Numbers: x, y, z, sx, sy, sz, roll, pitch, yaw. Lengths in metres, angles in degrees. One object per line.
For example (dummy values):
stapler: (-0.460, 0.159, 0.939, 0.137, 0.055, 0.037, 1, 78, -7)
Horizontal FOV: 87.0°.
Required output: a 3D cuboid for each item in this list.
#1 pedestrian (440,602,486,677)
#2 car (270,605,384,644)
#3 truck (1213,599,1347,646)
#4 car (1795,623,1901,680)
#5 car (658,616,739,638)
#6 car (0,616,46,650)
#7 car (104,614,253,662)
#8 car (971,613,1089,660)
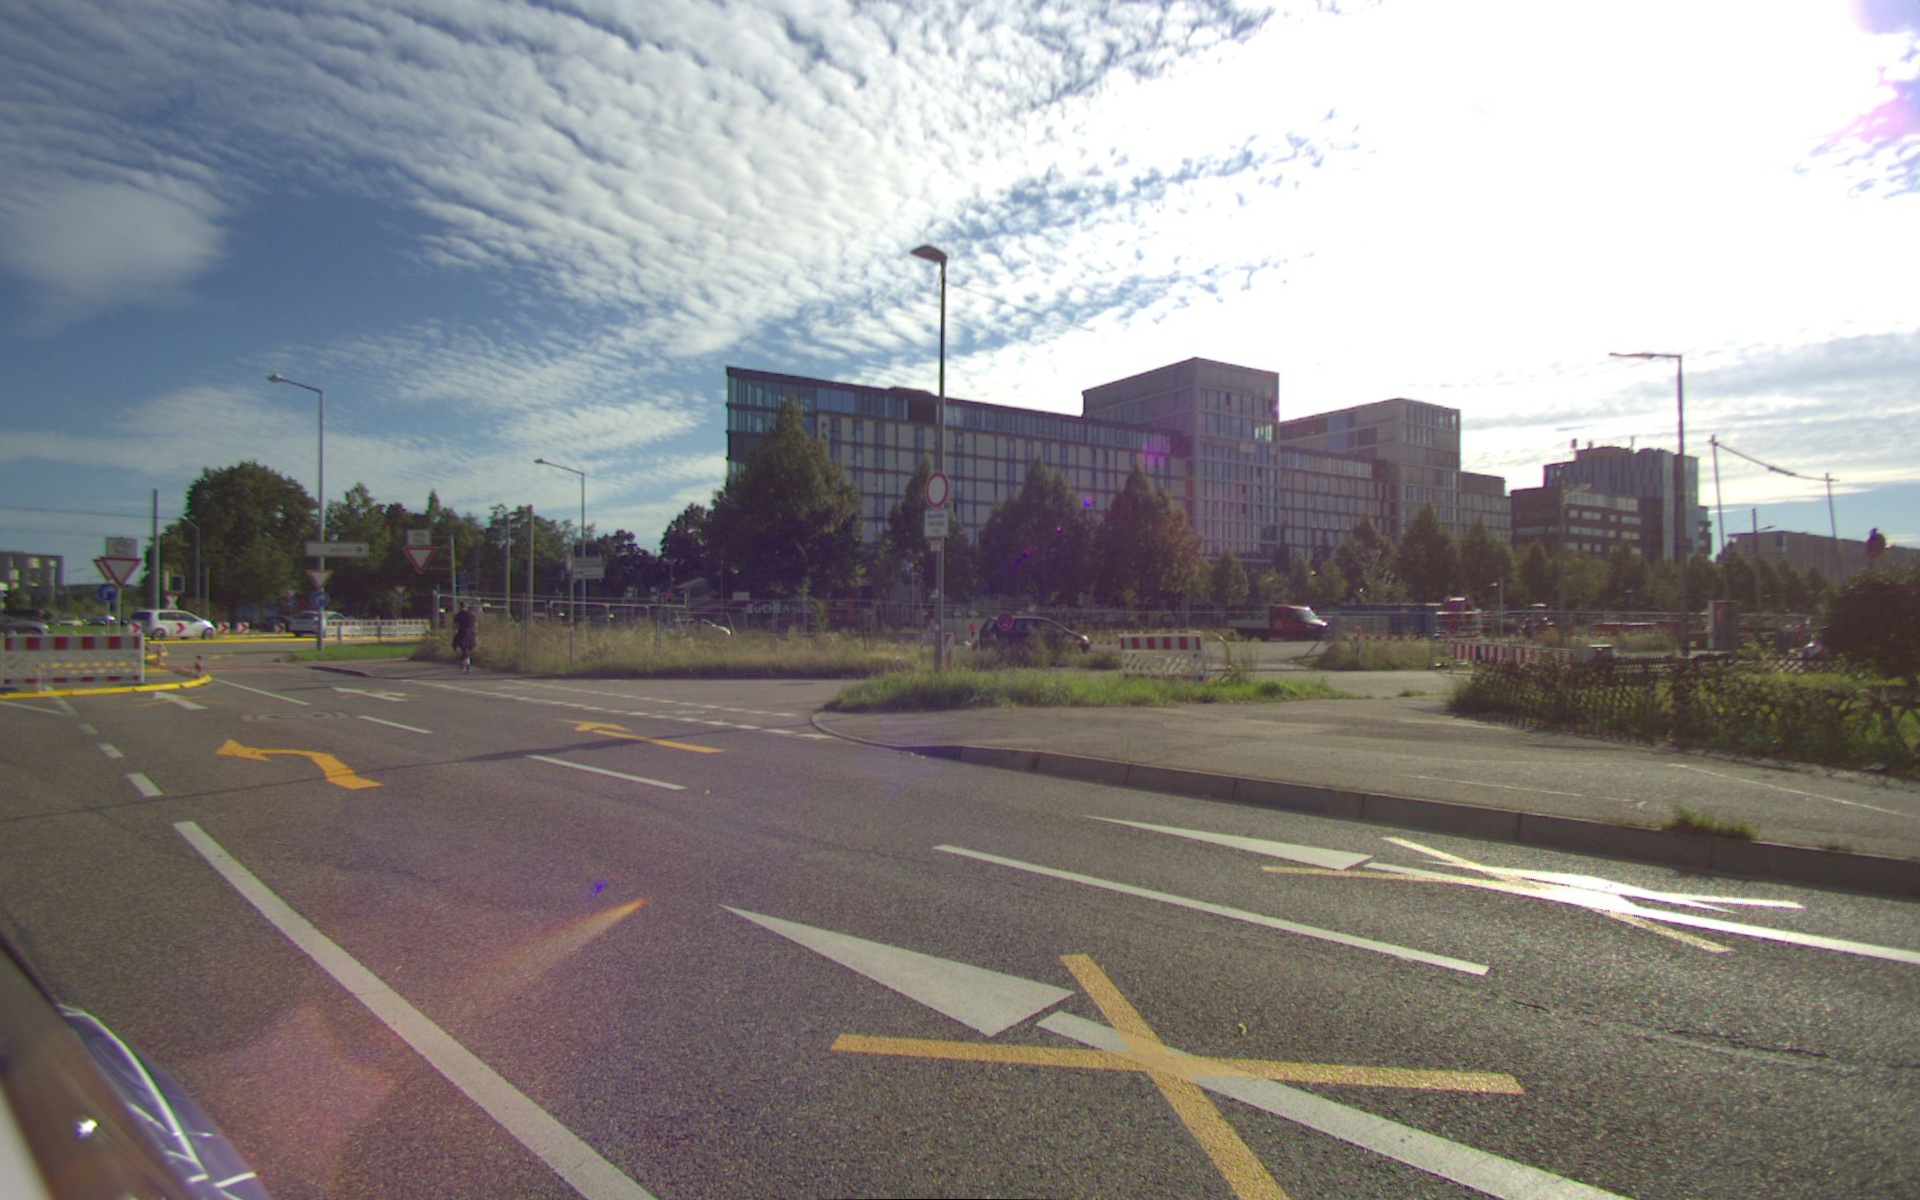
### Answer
pedestrian: (-12.361, 0.975, 25.195, 0.739, 1.838, 0.705, -1, 0, 18)
car: (-36.245, 1.356, 58.187, 2.449, 2.074, 5.791, 0, 0, 8)
truck: (20.766, 1.382, 66.182, 3.306, 2.875, 8.135, 0, 0, -34)
car: (29.853, 1.688, 33.996, 3.937, 1.567, 2.004, -3, 0, -39)
car: (-17.084, 1.753, 66.276, 4.735, 1.362, 2.004, 1, -1, -40)
car: (-40.168, 1.336, 40.657, 1.992, 1.362, 4.764, 0, -1, 29)
car: (-37.787, 1.774, 49.153, 2.453, 2.074, 5.480, 0, 0, 13)
car: (2.590, 1.348, 38.204, 4.354, 1.670, 1.999, 0, 0, 2)
